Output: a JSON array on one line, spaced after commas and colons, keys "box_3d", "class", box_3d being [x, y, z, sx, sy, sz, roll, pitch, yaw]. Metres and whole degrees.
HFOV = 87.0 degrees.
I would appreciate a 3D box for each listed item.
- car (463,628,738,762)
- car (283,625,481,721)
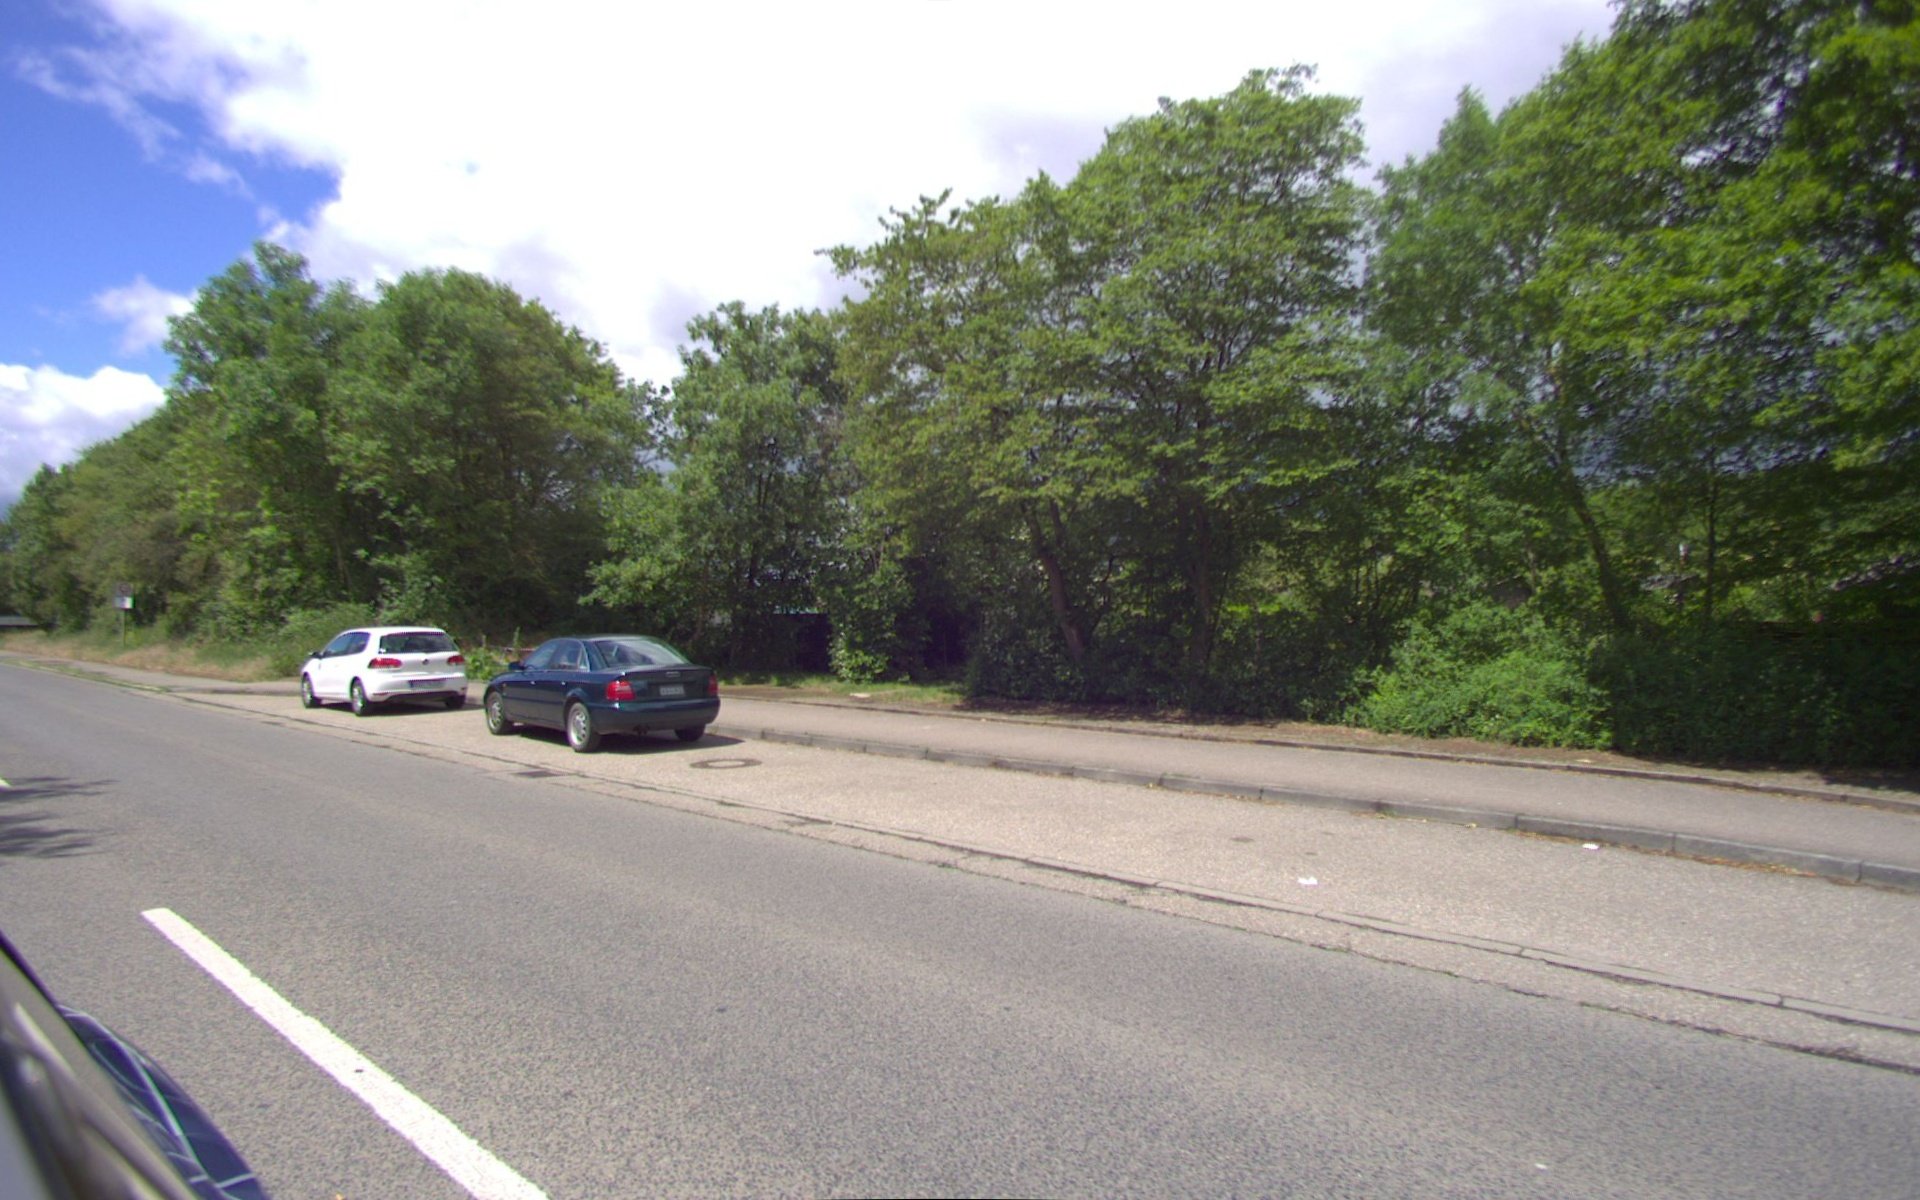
[{"box_3d": [-4.926, 1.133, 13.543, 4.266, 1.418, 1.748, -1, 0, 44], "class": "car"}, {"box_3d": [-10.555, 1.233, 18.359, 4.242, 1.481, 1.750, -1, 0, 40], "class": "car"}]
